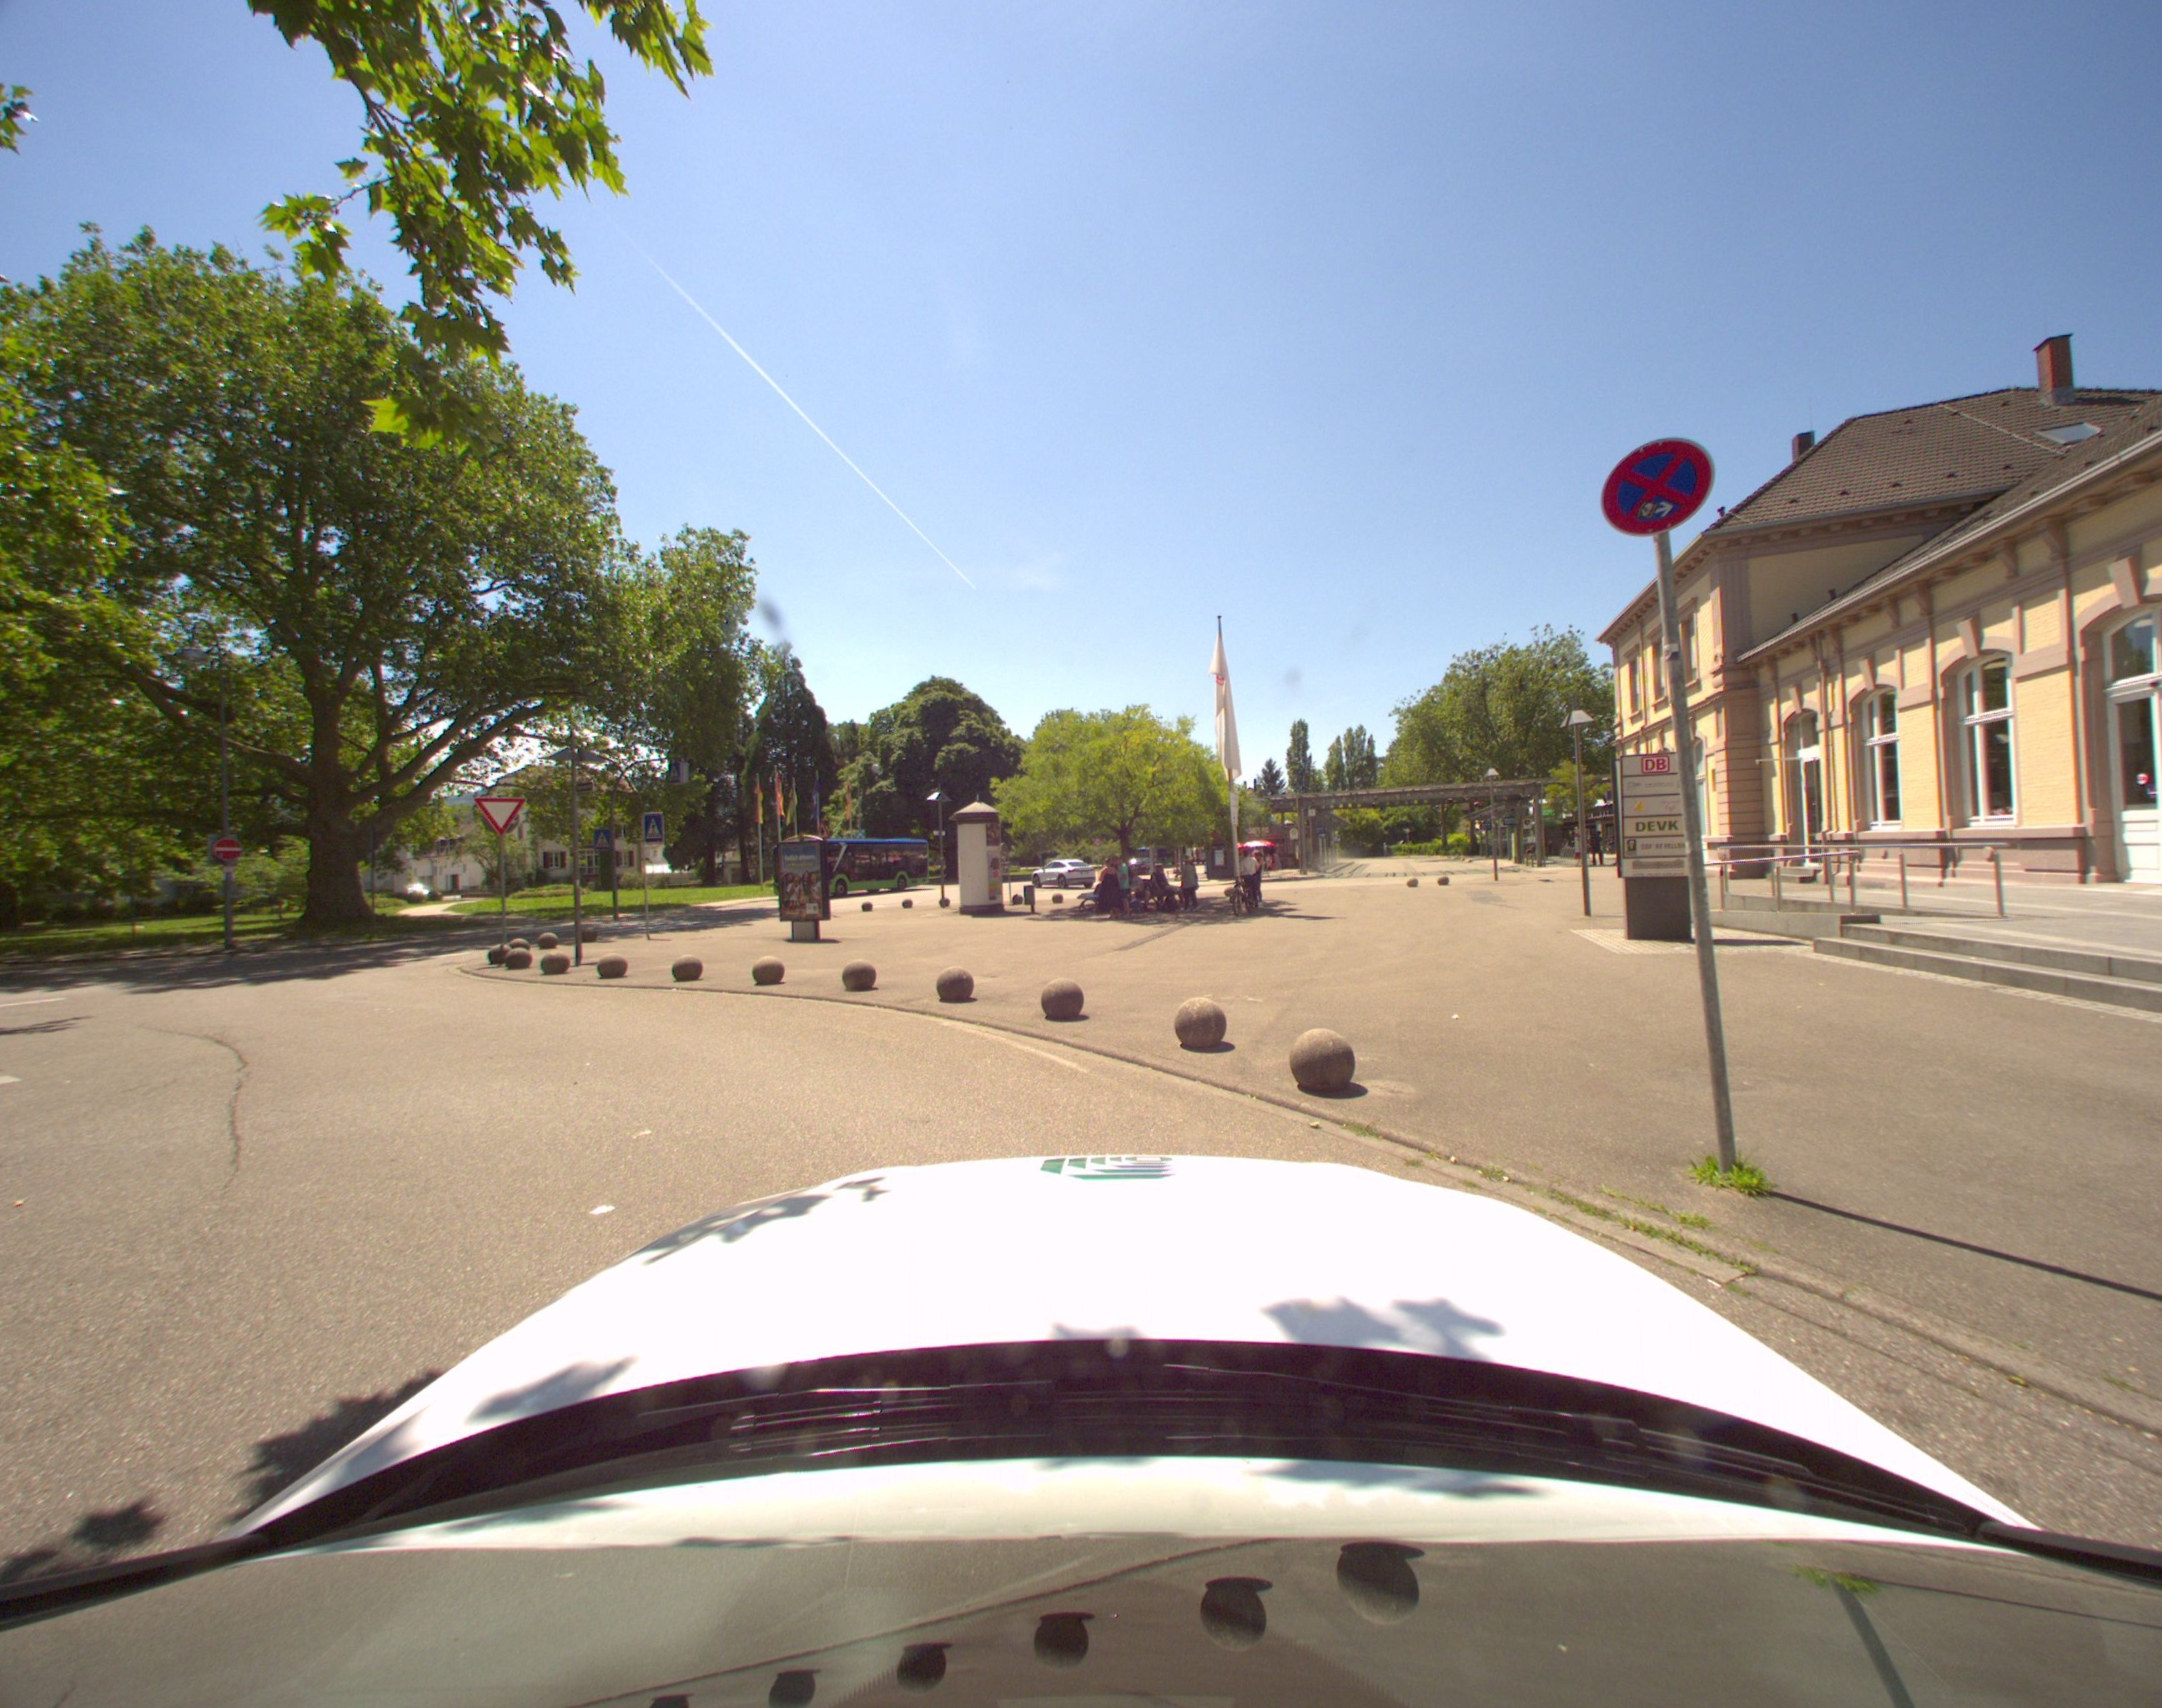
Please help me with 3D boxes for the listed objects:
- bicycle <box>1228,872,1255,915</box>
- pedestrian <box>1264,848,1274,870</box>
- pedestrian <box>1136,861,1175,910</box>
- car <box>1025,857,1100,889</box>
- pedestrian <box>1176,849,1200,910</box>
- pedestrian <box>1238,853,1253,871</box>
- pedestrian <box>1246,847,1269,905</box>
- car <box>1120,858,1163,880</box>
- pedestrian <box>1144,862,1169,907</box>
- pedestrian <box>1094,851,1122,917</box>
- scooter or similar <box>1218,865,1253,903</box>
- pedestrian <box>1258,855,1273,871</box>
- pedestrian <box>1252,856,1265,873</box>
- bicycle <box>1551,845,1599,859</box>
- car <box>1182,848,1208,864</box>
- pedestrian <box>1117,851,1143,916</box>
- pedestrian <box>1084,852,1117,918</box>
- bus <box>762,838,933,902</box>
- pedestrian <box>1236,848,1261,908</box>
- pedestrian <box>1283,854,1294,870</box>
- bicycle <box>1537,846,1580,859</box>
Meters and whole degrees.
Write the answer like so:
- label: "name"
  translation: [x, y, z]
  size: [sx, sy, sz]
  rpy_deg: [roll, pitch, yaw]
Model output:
- label: "bicycle"
  translation: [4.319, 1.037, 21.879]
  size: [0.417, 1.060, 1.958]
  rpy_deg: [-2, -1, 19]
- label: "pedestrian"
  translation: [15.111, 0.408, 65.435]
  size: [0.680, 1.738, 0.711]
  rpy_deg: [-2, -1, 21]
- label: "pedestrian"
  translation: [2.189, 0.927, 24.116]
  size: [0.909, 1.386, 0.941]
  rpy_deg: [-2, -1, -9]
- label: "car"
  translation: [-1.104, 1.109, 46.706]
  size: [1.997, 1.627, 4.727]
  rpy_deg: [-2, 0, -34]
- label: "pedestrian"
  translation: [3.097, 0.732, 23.612]
  size: [0.510, 1.740, 0.569]
  rpy_deg: [-2, -1, -9]
- label: "pedestrian"
  translation: [12.665, 0.622, 62.692]
  size: [0.893, 1.312, 0.685]
  rpy_deg: [-2, -1, -14]
- label: "pedestrian"
  translation: [5.198, 0.640, 23.984]
  size: [0.550, 1.685, 0.589]
  rpy_deg: [-2, -1, 8]
- label: "car"
  translation: [4.622, 1.124, 61.828]
  size: [1.910, 1.460, 4.749]
  rpy_deg: [-5, -2, 20]
- label: "pedestrian"
  translation: [2.345, 0.939, 25.335]
  size: [0.597, 1.364, 0.598]
  rpy_deg: [-2, 0, -8]
- label: "pedestrian"
  translation: [0.719, 0.802, 22.008]
  size: [0.624, 1.740, 0.547]
  rpy_deg: [-2, -1, -5]
- label: "scooter or similar"
  translation: [4.797, 0.918, 25.233]
  size: [1.018, 1.139, 0.295]
  rpy_deg: [-2, -1, 13]
- label: "pedestrian"
  translation: [14.084, 0.693, 62.112]
  size: [0.893, 1.161, 0.685]
  rpy_deg: [-2, -1, -14]
- label: "pedestrian"
  translation: [12.684, 0.738, 58.317]
  size: [0.680, 1.161, 0.900]
  rpy_deg: [-2, -1, 25]
- label: "bicycle"
  translation: [34.663, -0.144, 57.173]
  size: [2.764, 1.004, 0.815]
  rpy_deg: [0, -1, 18]
- label: "car"
  translation: [17.337, 0.331, 124.220]
  size: [2.205, 2.173, 4.859]
  rpy_deg: [-2, 0, -13]
- label: "pedestrian"
  translation: [1.342, 0.806, 22.364]
  size: [0.582, 1.740, 0.599]
  rpy_deg: [-2, -1, -5]
- label: "pedestrian"
  translation: [0.549, 0.854, 22.671]
  size: [0.587, 1.764, 0.686]
  rpy_deg: [-2, -1, -31]
- label: "bus"
  translation: [-13.366, 0.798, 48.628]
  size: [2.785, 3.283, 12.489]
  rpy_deg: [-2, 0, 21]
- label: "pedestrian"
  translation: [4.794, 0.688, 23.391]
  size: [0.614, 1.685, 0.592]
  rpy_deg: [-2, -1, 8]
- label: "pedestrian"
  translation: [15.604, 0.598, 61.235]
  size: [0.752, 1.205, 0.741]
  rpy_deg: [0, -1, 21]
- label: "bicycle"
  translation: [36.753, -0.104, 62.723]
  size: [2.764, 1.004, 0.815]
  rpy_deg: [0, -1, 18]
